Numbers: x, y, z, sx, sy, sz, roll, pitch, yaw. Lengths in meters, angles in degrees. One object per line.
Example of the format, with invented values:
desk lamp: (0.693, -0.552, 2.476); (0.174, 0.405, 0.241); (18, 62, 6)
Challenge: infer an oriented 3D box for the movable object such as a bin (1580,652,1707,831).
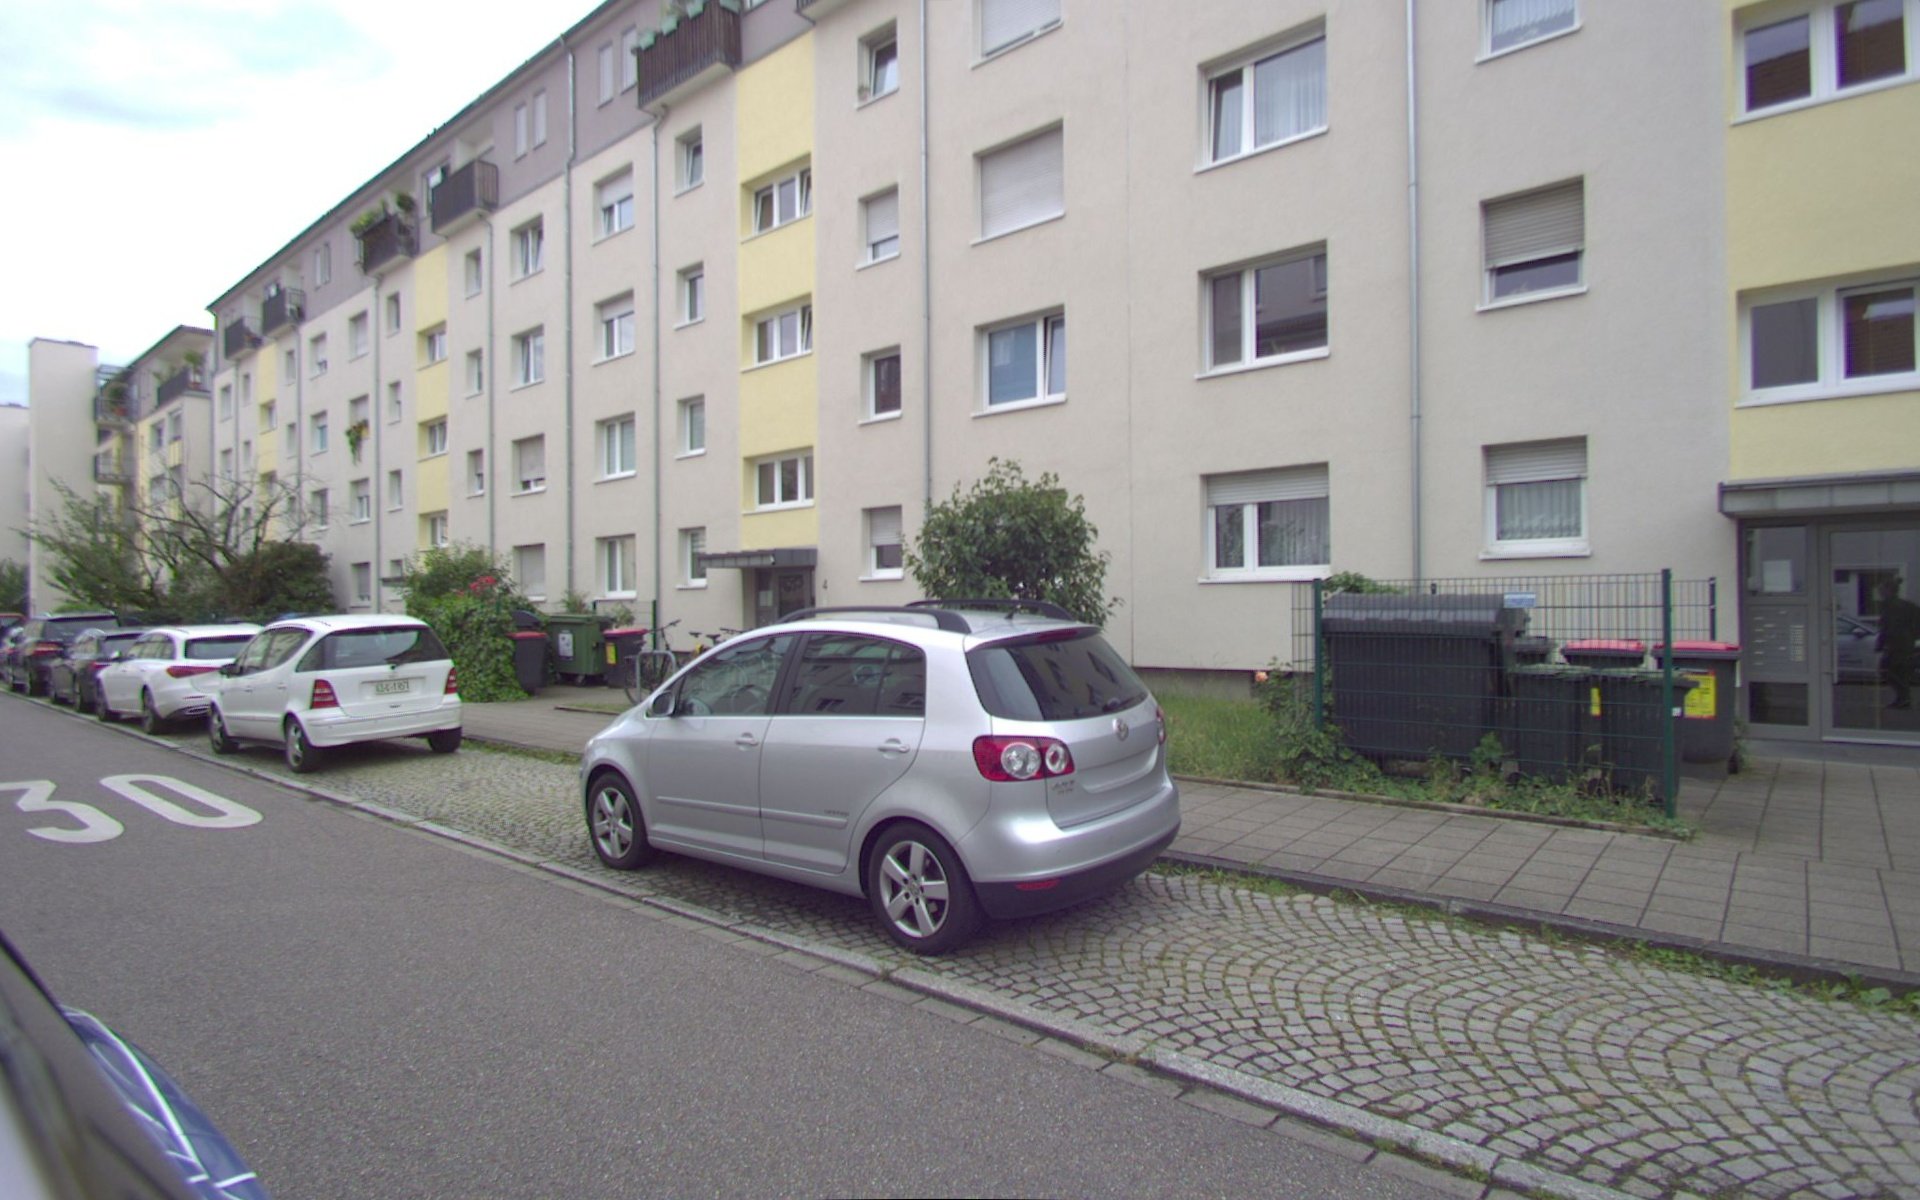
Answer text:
movable object such as a bin: (4.345, 0.865, 6.434); (0.597, 1.041, 0.531); (-2, -2, 39)

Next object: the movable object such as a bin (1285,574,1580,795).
movable object such as a bin: (3.603, 0.568, 7.700); (1.670, 1.432, 1.573); (-2, -1, 40)

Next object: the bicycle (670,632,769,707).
bicycle: (-3.569, 1.000, 14.922); (1.753, 1.032, 0.473); (-2, -1, 40)

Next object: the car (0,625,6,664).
car: (-37.705, 1.713, 38.391); (3.537, 1.455, 1.686); (-2, -2, 38)

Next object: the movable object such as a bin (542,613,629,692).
movable object such as a bin: (-7.015, 0.955, 18.965); (1.187, 1.385, 1.047); (0, 0, 36)

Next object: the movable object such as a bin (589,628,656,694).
movable object such as a bin: (-6.118, 1.085, 18.369); (0.786, 1.117, 0.861); (0, 0, 36)

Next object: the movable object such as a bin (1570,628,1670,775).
movable object such as a bin: (5.491, 0.808, 8.410); (0.597, 1.125, 0.834); (-2, -2, 38)

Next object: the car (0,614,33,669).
car: (-33.009, 1.423, 34.377); (3.537, 1.820, 1.686); (-2, -2, 38)

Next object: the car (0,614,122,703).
car: (-20.232, 1.273, 22.605); (4.448, 1.793, 1.555); (-2, -2, 40)

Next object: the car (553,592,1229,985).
car: (-0.618, 0.797, 5.949); (3.912, 1.562, 1.637); (-2, -1, 40)

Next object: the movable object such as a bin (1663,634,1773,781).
movable object such as a bin: (5.956, 0.805, 7.946); (0.633, 1.059, 0.855); (-2, -2, 39)

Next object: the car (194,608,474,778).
car: (-7.327, 0.956, 11.725); (3.724, 1.651, 1.668); (-2, -1, 39)

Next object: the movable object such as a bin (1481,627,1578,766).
movable object such as a bin: (4.976, 0.809, 8.828); (0.597, 1.125, 0.834); (-2, -2, 38)

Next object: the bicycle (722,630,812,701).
bicycle: (-2.986, 0.992, 15.575); (1.557, 1.032, 0.416); (-2, -1, 38)

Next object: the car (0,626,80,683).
car: (-25.173, 1.454, 27.300); (3.537, 1.407, 1.556); (-2, -2, 38)

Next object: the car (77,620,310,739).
car: (-11.708, 1.121, 15.333); (4.681, 1.521, 1.701); (-2, -2, 38)

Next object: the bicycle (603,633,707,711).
bicycle: (-4.333, 0.989, 14.308); (1.877, 1.032, 0.483); (-2, -1, 41)

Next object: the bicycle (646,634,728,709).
bicycle: (-3.949, 1.006, 14.601); (1.496, 1.032, 0.352); (-2, -1, 40)

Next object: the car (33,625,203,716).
car: (-15.635, 1.210, 18.708); (4.480, 1.464, 1.707); (-1, -1, 41)

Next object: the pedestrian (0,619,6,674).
pedestrian: (-29.580, 1.431, 30.870); (0.621, 1.679, 0.596); (-2, -1, 38)

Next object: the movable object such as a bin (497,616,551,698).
movable object such as a bin: (-7.552, 0.968, 17.531); (0.587, 1.378, 0.651); (0, 0, 36)
